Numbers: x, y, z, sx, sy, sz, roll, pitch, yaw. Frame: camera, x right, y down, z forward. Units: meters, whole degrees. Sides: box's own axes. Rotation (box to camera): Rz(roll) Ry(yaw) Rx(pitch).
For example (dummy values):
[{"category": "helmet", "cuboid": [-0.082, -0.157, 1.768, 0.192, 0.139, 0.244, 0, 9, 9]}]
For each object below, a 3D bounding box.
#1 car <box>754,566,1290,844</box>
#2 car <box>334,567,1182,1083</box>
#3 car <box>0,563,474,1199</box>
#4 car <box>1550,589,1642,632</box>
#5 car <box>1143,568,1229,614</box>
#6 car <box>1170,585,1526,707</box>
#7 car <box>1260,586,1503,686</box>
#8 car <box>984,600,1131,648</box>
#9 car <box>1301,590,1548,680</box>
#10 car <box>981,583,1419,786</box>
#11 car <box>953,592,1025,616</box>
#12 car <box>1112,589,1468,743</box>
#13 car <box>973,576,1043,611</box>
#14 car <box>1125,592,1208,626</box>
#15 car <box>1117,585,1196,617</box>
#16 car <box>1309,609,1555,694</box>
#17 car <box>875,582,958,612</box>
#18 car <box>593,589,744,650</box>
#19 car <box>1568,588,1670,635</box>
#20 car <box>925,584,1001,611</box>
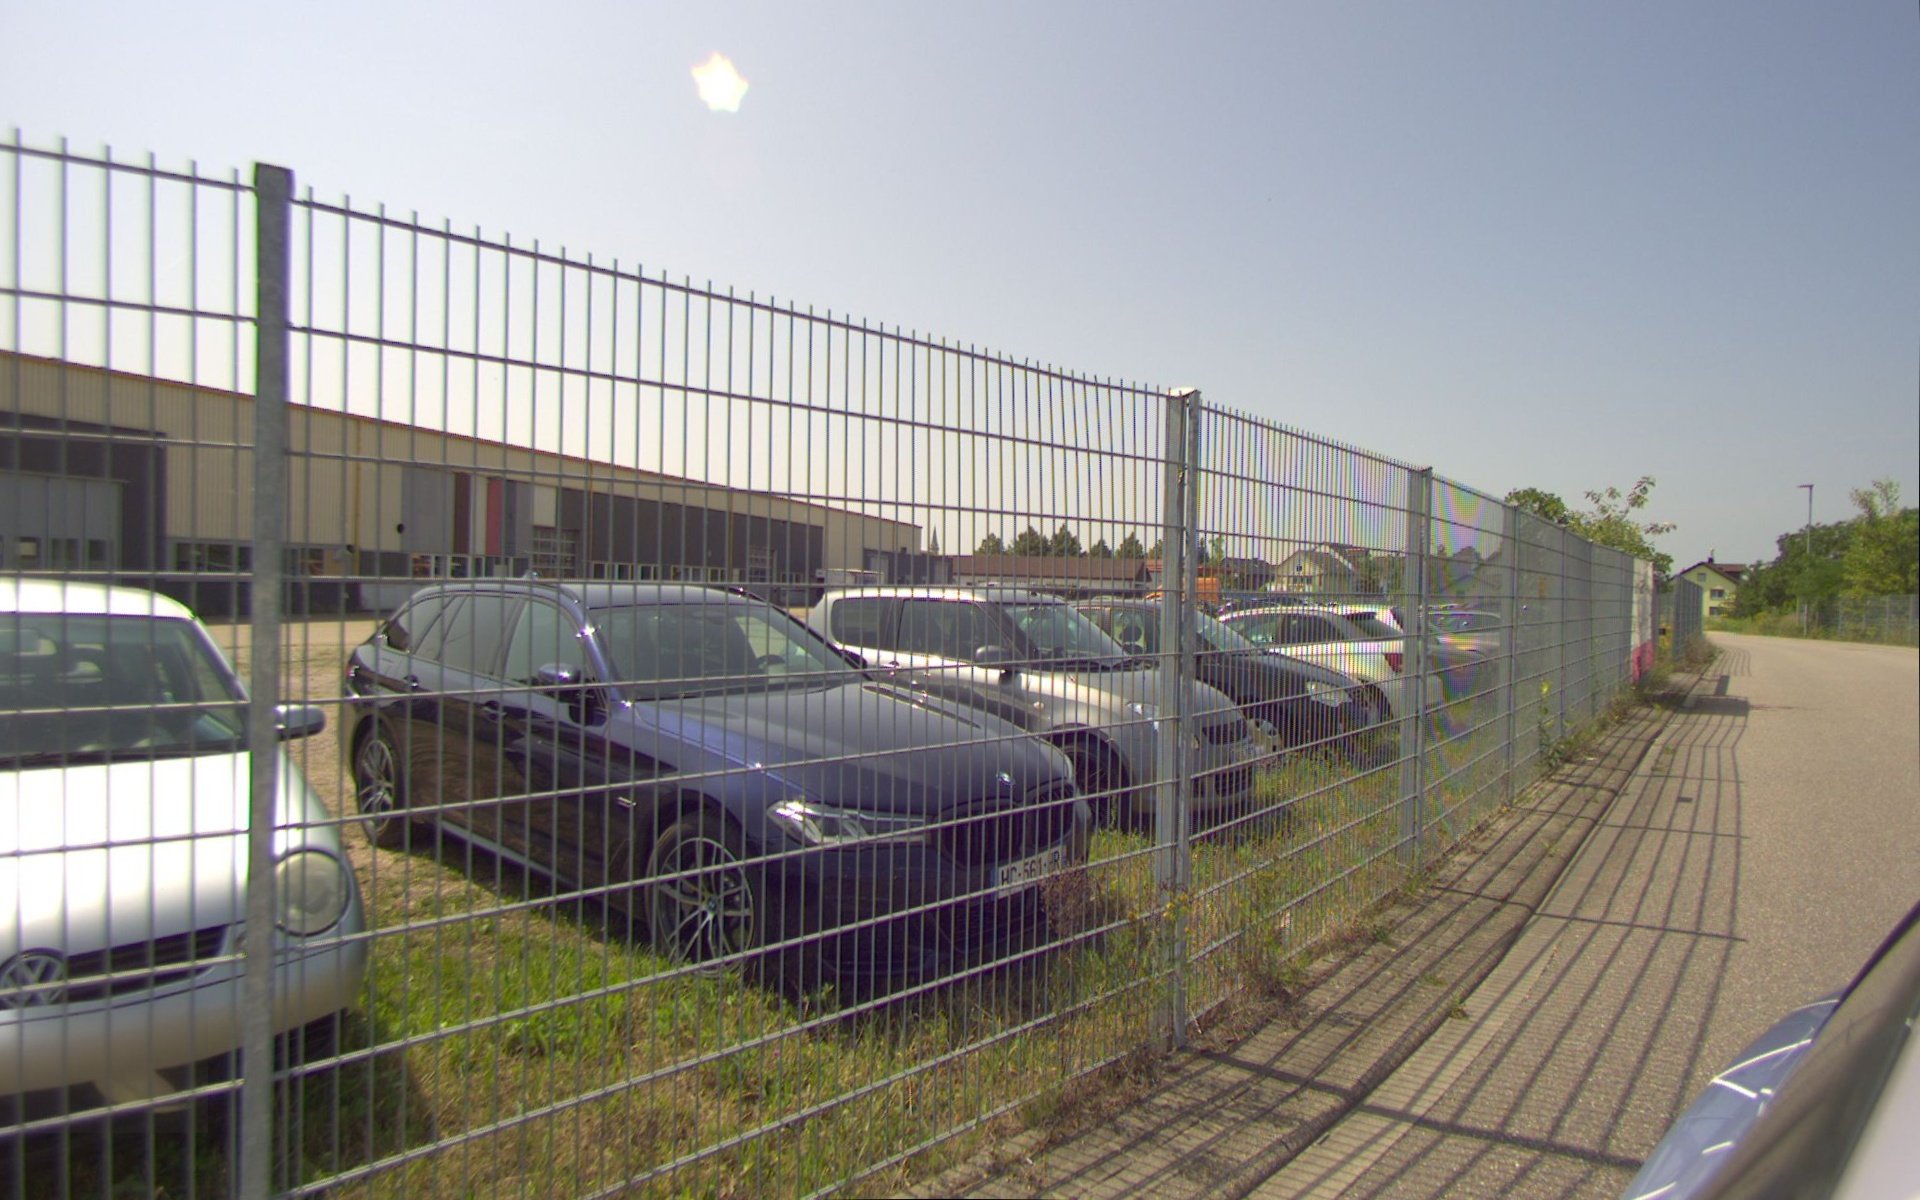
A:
[{"category": "car", "cuboid": [0.345, 0.540, 7.309, 3.530, 1.521, 1.689, 1, 1, 37]}, {"category": "car", "cuboid": [-1.354, 0.604, 5.105, 4.532, 1.493, 1.798, 2, 1, 41]}, {"category": "car", "cuboid": [-3.153, 0.609, 3.268, 3.460, 1.440, 1.612, 2, 1, 41]}, {"category": "car", "cuboid": [33.024, 0.507, 52.606, 3.972, 2.039, 1.976, 2, 1, 34]}, {"category": "car", "cuboid": [13.610, -0.547, 61.005, 4.695, 2.617, 1.964, 2, 0, 24]}, {"category": "car", "cuboid": [5.111, 0.508, 13.586, 4.173, 1.371, 1.700, 1, 1, 37]}, {"category": "car", "cuboid": [6.533, 0.493, 15.769, 3.258, 1.371, 1.508, 1, 0, 36]}, {"category": "car", "cuboid": [3.128, 0.740, 32.632, 4.476, 1.368, 1.613, 1, 1, 25]}, {"category": "car", "cuboid": [8.094, 0.540, 17.743, 3.655, 1.371, 1.716, 1, 1, 38]}, {"category": "car", "cuboid": [2.168, 0.614, 9.491, 3.639, 1.496, 1.729, 1, 2, 37]}, {"category": "car", "cuboid": [1.915, 0.239, 67.040, 4.342, 1.395, 1.827, 2, 0, 24]}, {"category": "car", "cuboid": [3.679, 0.627, 11.507, 3.516, 1.406, 1.614, 2, 1, 37]}, {"category": "car", "cuboid": [3.308, -0.453, 69.635, 4.338, 2.199, 1.959, 2, 0, 21]}, {"category": "car", "cuboid": [10.237, 0.434, 50.252, 3.788, 1.480, 1.576, 2, 0, 24]}, {"category": "car", "cuboid": [10.338, 0.050, 53.202, 3.788, 1.480, 1.576, 2, 0, 24]}, {"category": "car", "cuboid": [9.230, 0.973, 19.946, 4.150, 1.493, 1.617, -2, -1, 36]}, {"category": "car", "cuboid": [-2.451, -0.177, 56.987, 4.338, 1.504, 1.740, 2, 0, 21]}, {"category": "car", "cuboid": [-7.641, 0.469, 26.548, 3.623, 1.454, 1.525, 1, 1, 21]}, {"category": "car", "cuboid": [31.361, 0.519, 48.277, 3.972, 2.039, 1.976, 2, 1, 34]}, {"category": "car", "cuboid": [0.205, -0.164, 63.231, 4.338, 1.504, 1.960, 2, 0, 21]}]
